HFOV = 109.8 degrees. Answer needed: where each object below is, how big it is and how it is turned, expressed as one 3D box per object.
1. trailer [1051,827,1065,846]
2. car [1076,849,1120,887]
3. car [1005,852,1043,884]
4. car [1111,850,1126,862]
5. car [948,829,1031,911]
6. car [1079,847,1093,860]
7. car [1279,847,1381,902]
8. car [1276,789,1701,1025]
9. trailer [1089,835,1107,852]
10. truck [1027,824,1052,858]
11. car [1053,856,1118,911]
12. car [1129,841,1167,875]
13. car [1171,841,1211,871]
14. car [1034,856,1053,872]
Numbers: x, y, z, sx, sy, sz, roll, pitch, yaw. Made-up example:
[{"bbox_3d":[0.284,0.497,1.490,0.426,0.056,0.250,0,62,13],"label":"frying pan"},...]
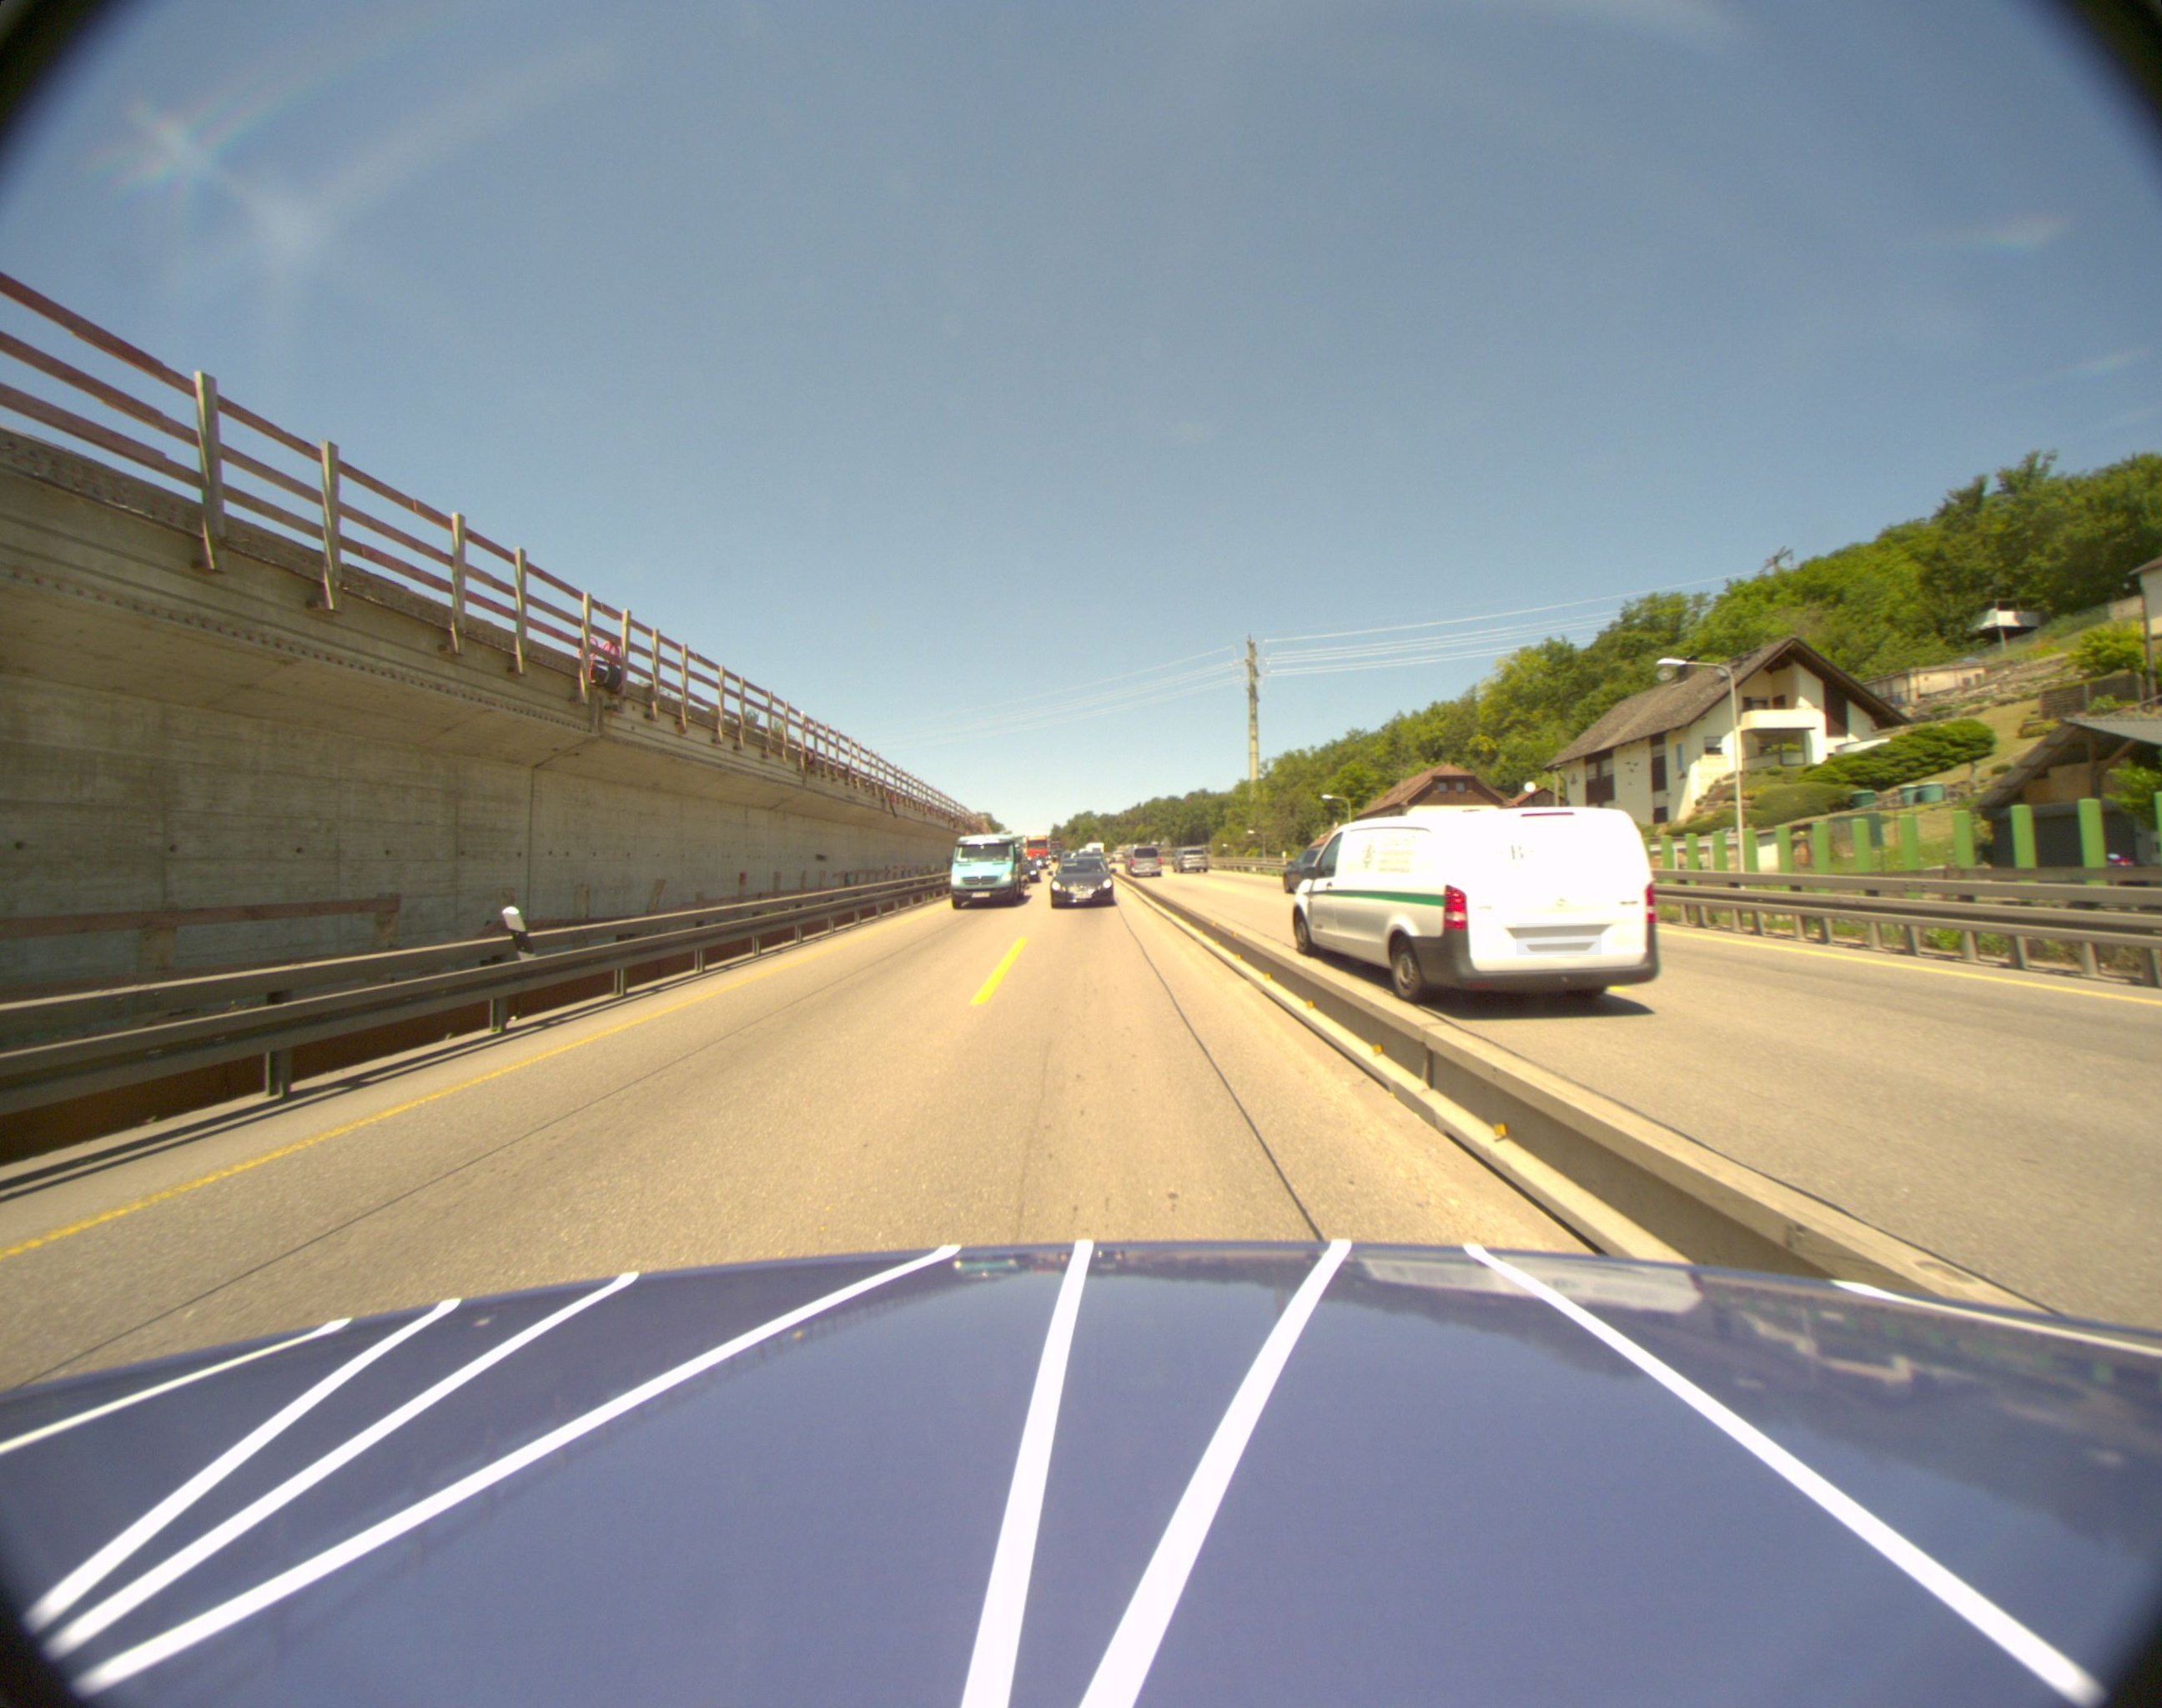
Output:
[{"bbox_3d":[-5.992,-4.392,194.122,3.130,4.687,12.074,-3,1,-2],"label":"trailer"},{"bbox_3d":[0.764,0.630,36.654,1.859,1.650,3.999,-3,1,-1],"label":"car"},{"bbox_3d":[-3.287,0.770,44.376,1.859,1.650,3.999,-3,1,0],"label":"car"},{"bbox_3d":[4.749,0.265,96.639,1.706,1.471,3.973,-2,0,-1],"label":"car"},{"bbox_3d":[-2.936,0.453,26.074,1.968,2.367,7.209,-2,0,-1],"label":"car"},{"bbox_3d":[0.698,-0.076,103.547,1.814,1.730,4.256,-2,0,-1],"label":"car"},{"bbox_3d":[7.365,0.537,22.850,1.753,1.434,4.052,-2,1,1],"label":"car"},{"bbox_3d":[4.027,0.404,8.895,2.163,1.895,5.325,-1,1,1],"label":"car"},{"bbox_3d":[2.789,-1.772,125.779,2.606,2.573,6.239,-2,1,-1],"label":"trailer"},{"bbox_3d":[-5.292,-1.656,99.145,2.651,3.978,11.193,-3,1,-1],"label":"truck"},{"bbox_3d":[0.060,0.816,23.013,1.793,1.440,4.296,-1,0,-2],"label":"car"},{"bbox_3d":[4.038,0.191,46.646,1.998,2.002,4.968,0,1,1],"label":"car"},{"bbox_3d":[7.220,0.081,50.296,1.998,1.817,4.507,-2,1,0],"label":"car"},{"bbox_3d":[-3.898,1.015,79.820,1.674,1.499,3.648,-3,1,1],"label":"car"}]
